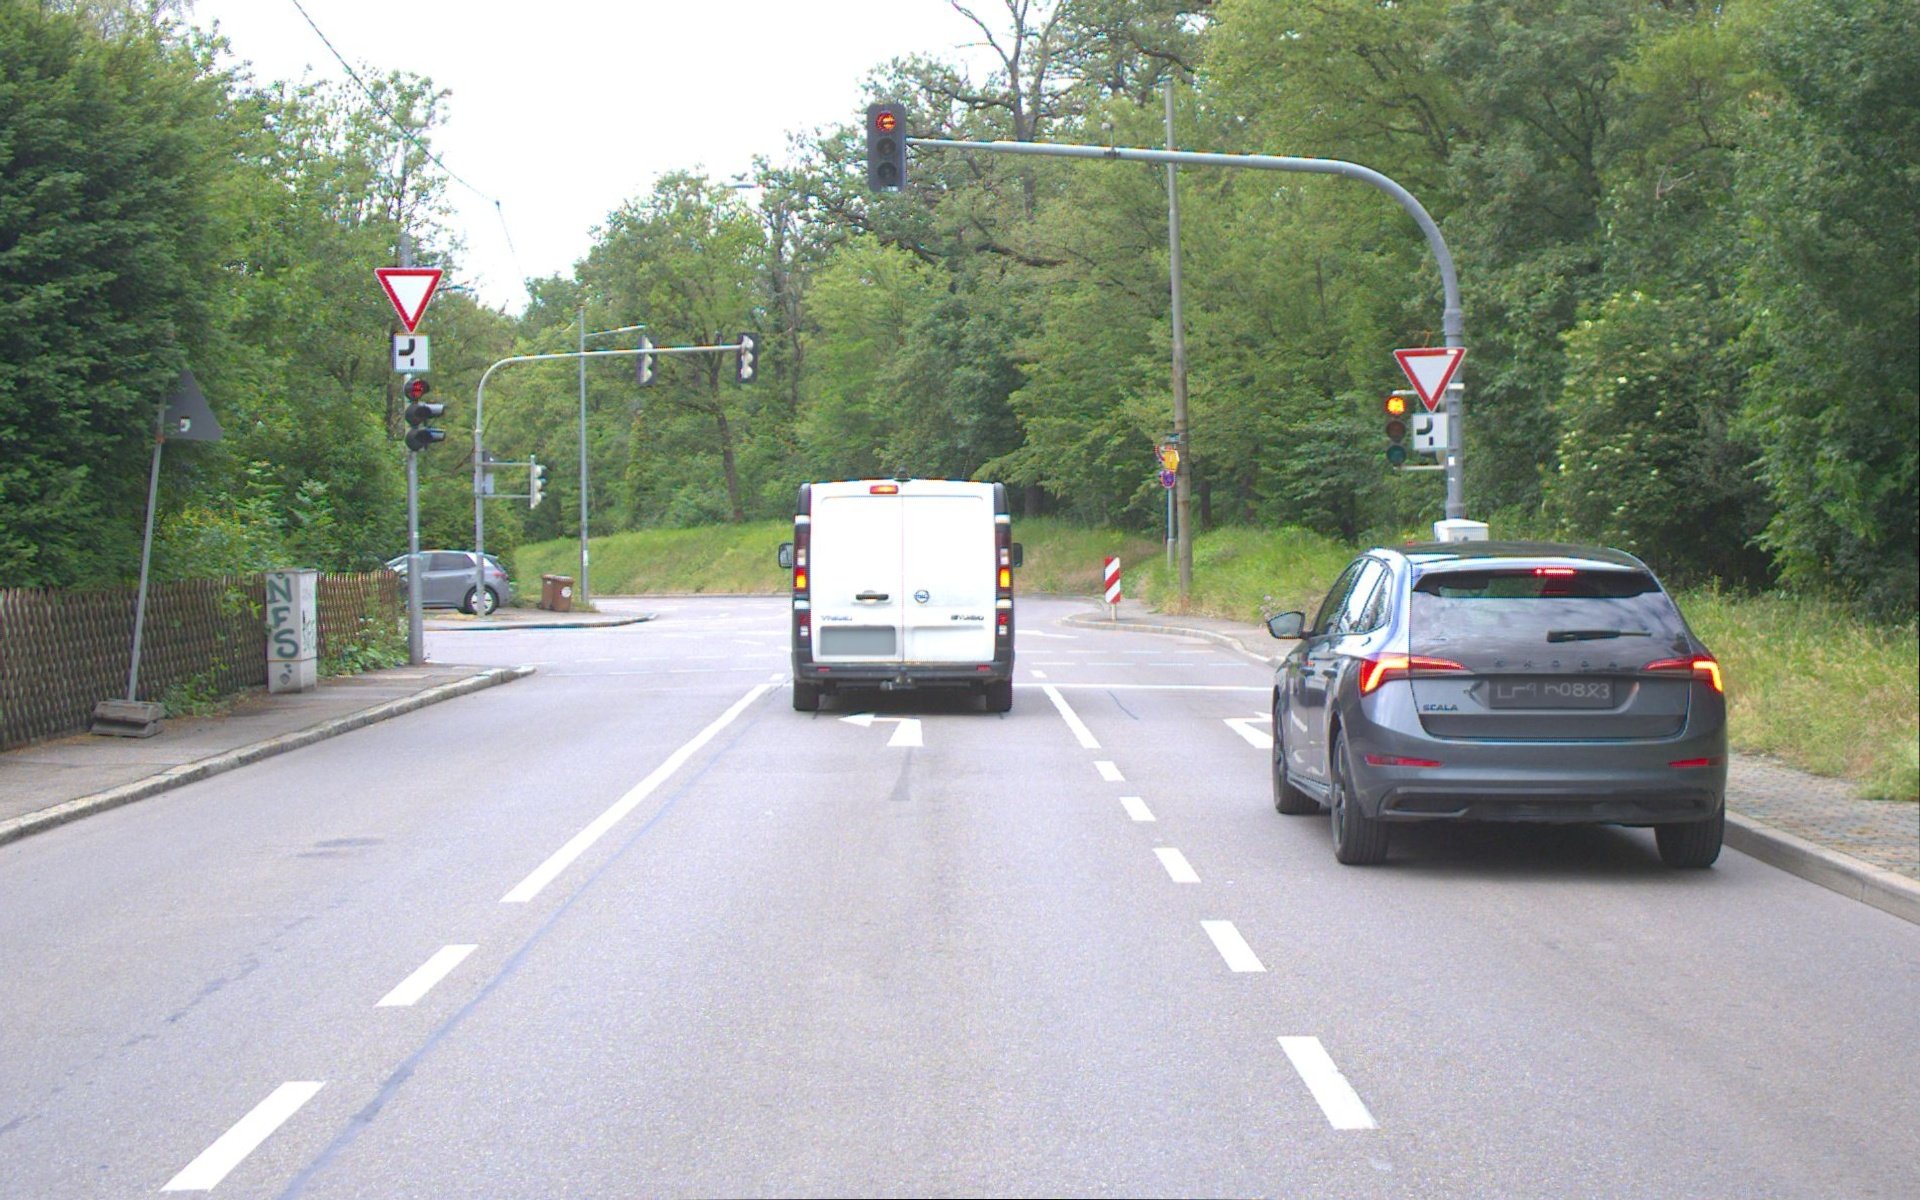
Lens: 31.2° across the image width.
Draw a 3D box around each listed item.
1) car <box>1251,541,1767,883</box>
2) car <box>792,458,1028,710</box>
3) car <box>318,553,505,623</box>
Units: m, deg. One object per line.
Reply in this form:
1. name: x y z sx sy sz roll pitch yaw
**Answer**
1. car: 2.514 0.444 16.667 1.792 1.445 4.000 0 1 -1
2. car: -0.503 -0.170 30.282 1.916 2.046 4.615 0 1 -2
3. car: -12.818 -0.291 80.261 4.085 1.548 1.855 -1 2 -17
